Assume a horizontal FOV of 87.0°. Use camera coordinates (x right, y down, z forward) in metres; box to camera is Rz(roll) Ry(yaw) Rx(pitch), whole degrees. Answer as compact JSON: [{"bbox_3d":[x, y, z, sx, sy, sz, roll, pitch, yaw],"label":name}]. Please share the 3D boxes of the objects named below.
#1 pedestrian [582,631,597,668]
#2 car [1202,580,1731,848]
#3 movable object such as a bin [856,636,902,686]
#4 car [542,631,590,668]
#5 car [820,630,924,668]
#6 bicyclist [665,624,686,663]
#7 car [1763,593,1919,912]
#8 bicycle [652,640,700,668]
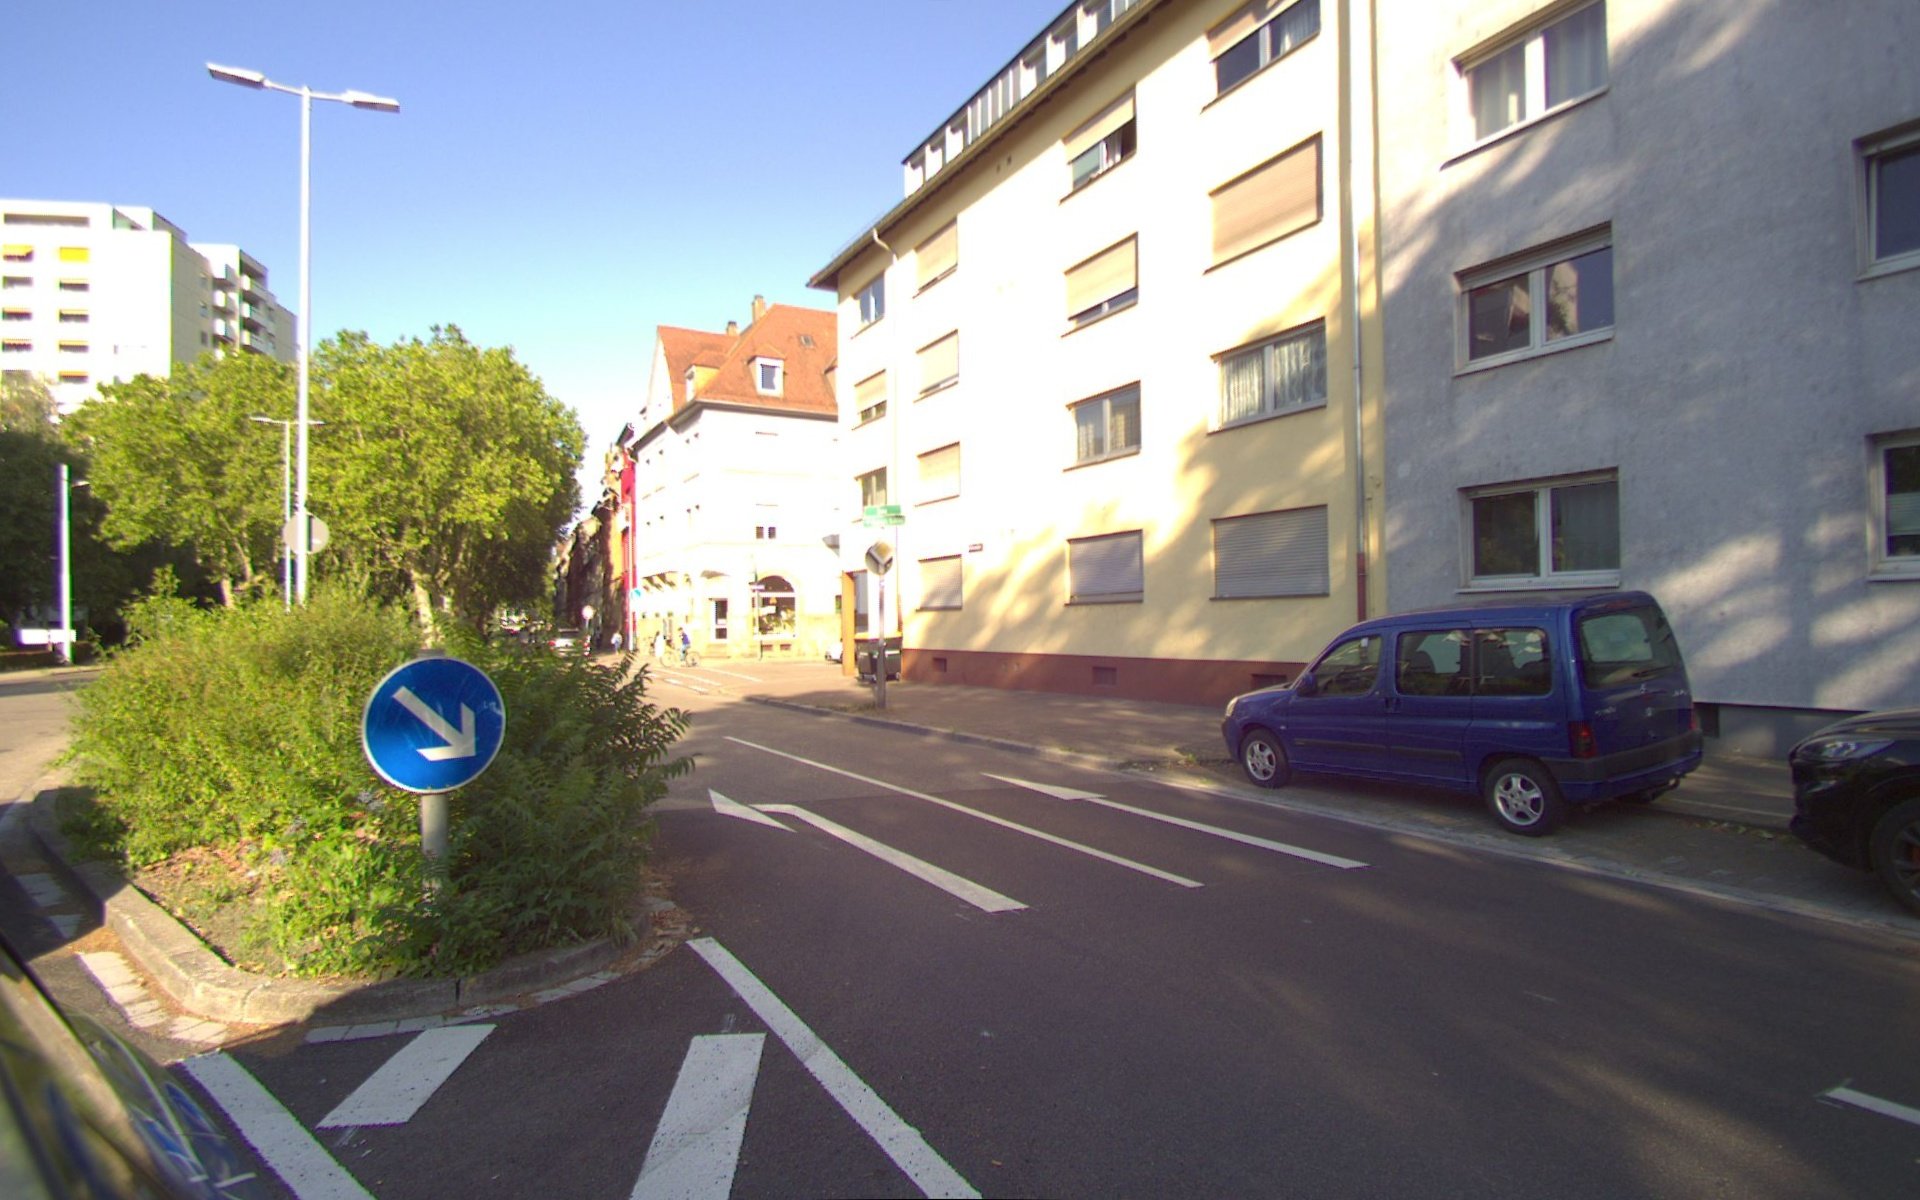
[{"bbox_3d":[-17.569,2.363,48.049,0.662,1.725,0.715,0,-2,-20],"label":"pedestrian"},{"bbox_3d":[4.239,0.845,9.202,1.641,1.832,4.017,-2,-1,-28],"label":"car"},{"bbox_3d":[-2.186,1.629,27.234,1.017,1.296,1.065,0,-2,-18],"label":"movable object such as a bin"},{"bbox_3d":[-20.431,2.517,52.381,1.867,1.806,4.012,0,-2,-28],"label":"car"},{"bbox_3d":[-3.772,2.072,43.245,4.134,1.523,1.806,0,-2,-16],"label":"car"},{"bbox_3d":[-11.537,1.765,41.024,0.738,1.565,0.632,0,-2,-20],"label":"bicyclist"},{"bbox_3d":[6.672,0.759,4.433,1.879,1.685,4.507,-2,-1,-26],"label":"car"},{"bbox_3d":[-11.519,2.188,41.025,1.837,1.098,0.629,0,-2,-21],"label":"bicycle"}]
